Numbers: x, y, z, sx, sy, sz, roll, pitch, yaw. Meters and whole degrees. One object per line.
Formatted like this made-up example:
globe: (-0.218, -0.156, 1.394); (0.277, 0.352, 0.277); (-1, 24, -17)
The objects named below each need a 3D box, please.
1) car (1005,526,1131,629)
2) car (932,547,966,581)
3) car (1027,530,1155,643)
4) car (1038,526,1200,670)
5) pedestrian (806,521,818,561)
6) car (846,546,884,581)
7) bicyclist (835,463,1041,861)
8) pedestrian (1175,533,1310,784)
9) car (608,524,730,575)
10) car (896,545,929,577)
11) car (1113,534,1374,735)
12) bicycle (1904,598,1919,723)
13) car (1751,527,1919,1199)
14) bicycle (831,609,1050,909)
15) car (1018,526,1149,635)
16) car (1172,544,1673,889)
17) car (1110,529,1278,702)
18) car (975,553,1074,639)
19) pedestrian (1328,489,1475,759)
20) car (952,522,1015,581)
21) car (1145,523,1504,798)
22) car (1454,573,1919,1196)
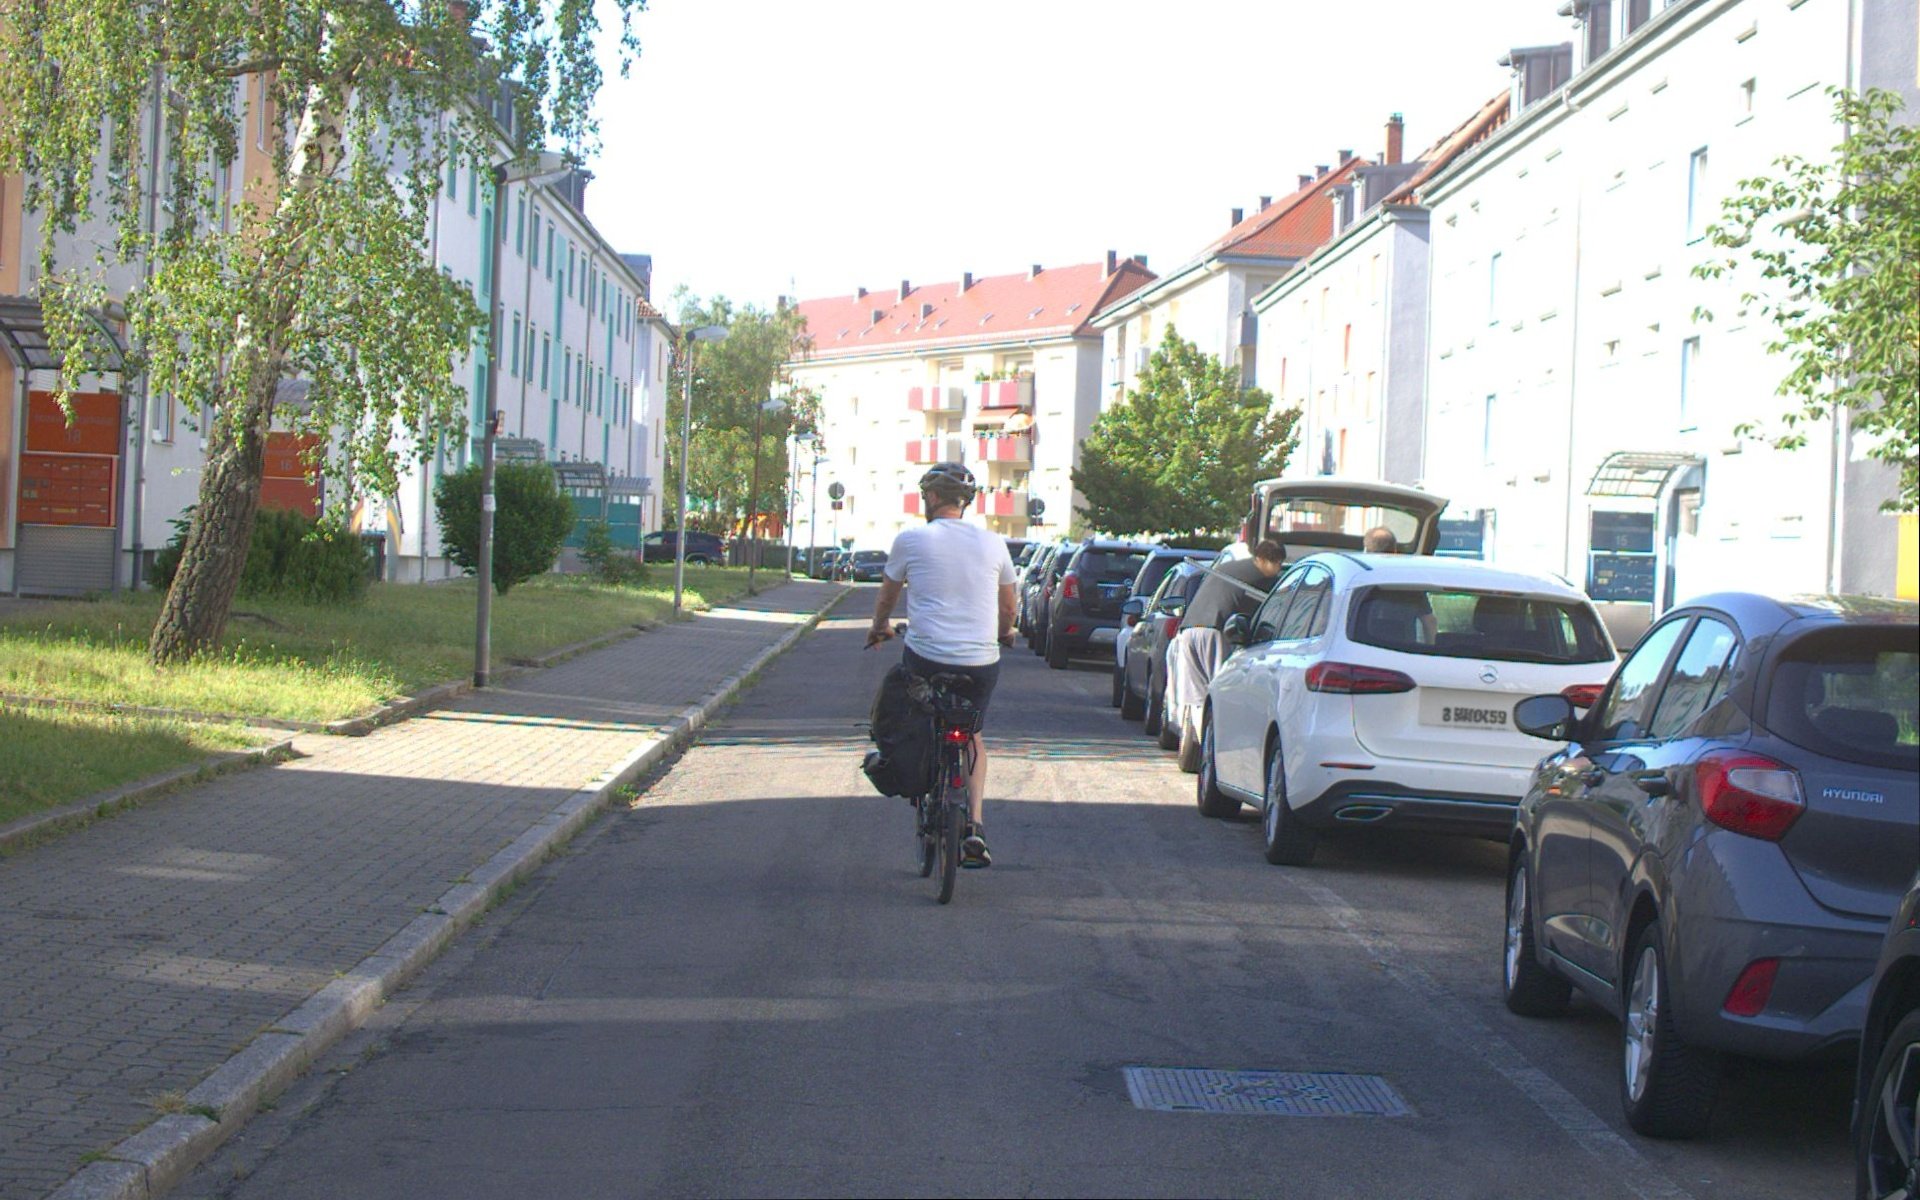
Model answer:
car: (1.870, -0.438, 60.824); (1.750, 1.612, 4.453); (4, 1, -3)
car: (-0.515, -1.659, 157.184); (1.381, 1.492, 3.077); (1, 1, -3)
car: (1.839, -0.228, 49.165); (1.641, 1.493, 4.157); (2, 1, 0)
car: (1.984, -0.072, 44.070); (1.783, 1.642, 4.469); (3, 1, 0)
pedestrian: (-5.894, -2.343, 136.712); (0.434, 1.569, 0.543); (1, 1, -1)
car: (-3.883, -1.493, 140.419); (1.469, 1.331, 3.141); (1, 1, -3)
bicyclist: (-0.108, 0.252, 14.714); (0.808, 1.638, 0.899); (1, 1, -3)
pedestrian: (1.813, 0.365, 22.168); (0.739, 1.569, 0.880); (1, 1, -1)
car: (-10.330, -1.796, 122.004); (4.230, 1.633, 1.583); (2, 1, -4)
car: (-2.356, -1.926, 169.951); (1.469, 1.511, 3.077); (1, 1, -3)
car: (2.349, 0.237, 29.421); (1.693, 1.486, 3.985); (4, 1, -2)
bicycle: (8.541, 0.536, 29.665); (0.403, 1.083, 1.299); (1, 1, 0)
car: (2.621, 0.693, 5.159); (1.723, 1.573, 4.353); (1, 1, -2)
bicycle: (-0.115, 0.633, 14.655); (0.808, 1.124, 2.102); (1, 1, -3)
car: (1.926, -0.348, 54.772); (1.690, 1.569, 4.435); (3, 1, -2)
car: (2.285, 0.509, 18.179); (1.772, 1.499, 4.481); (3, 1, -3)
car: (2.289, 0.120, 33.895); (1.480, 1.524, 2.940); (4, 1, 3)
car: (1.350, -0.115, 73.531); (1.862, 1.662, 4.127); (4, 1, -1)
pedestrian: (2.796, 0.144, 21.820); (0.819, 1.681, 0.604); (1, 1, -1)
car: (0.707, -1.539, 108.040); (1.674, 1.733, 3.943); (3, 1, -3)
car: (2.435, 0.327, 24.193); (1.993, 1.607, 4.995); (4, 1, 1)
car: (2.598, 0.710, 10.402); (1.647, 1.444, 4.060); (4, 1, 2)
